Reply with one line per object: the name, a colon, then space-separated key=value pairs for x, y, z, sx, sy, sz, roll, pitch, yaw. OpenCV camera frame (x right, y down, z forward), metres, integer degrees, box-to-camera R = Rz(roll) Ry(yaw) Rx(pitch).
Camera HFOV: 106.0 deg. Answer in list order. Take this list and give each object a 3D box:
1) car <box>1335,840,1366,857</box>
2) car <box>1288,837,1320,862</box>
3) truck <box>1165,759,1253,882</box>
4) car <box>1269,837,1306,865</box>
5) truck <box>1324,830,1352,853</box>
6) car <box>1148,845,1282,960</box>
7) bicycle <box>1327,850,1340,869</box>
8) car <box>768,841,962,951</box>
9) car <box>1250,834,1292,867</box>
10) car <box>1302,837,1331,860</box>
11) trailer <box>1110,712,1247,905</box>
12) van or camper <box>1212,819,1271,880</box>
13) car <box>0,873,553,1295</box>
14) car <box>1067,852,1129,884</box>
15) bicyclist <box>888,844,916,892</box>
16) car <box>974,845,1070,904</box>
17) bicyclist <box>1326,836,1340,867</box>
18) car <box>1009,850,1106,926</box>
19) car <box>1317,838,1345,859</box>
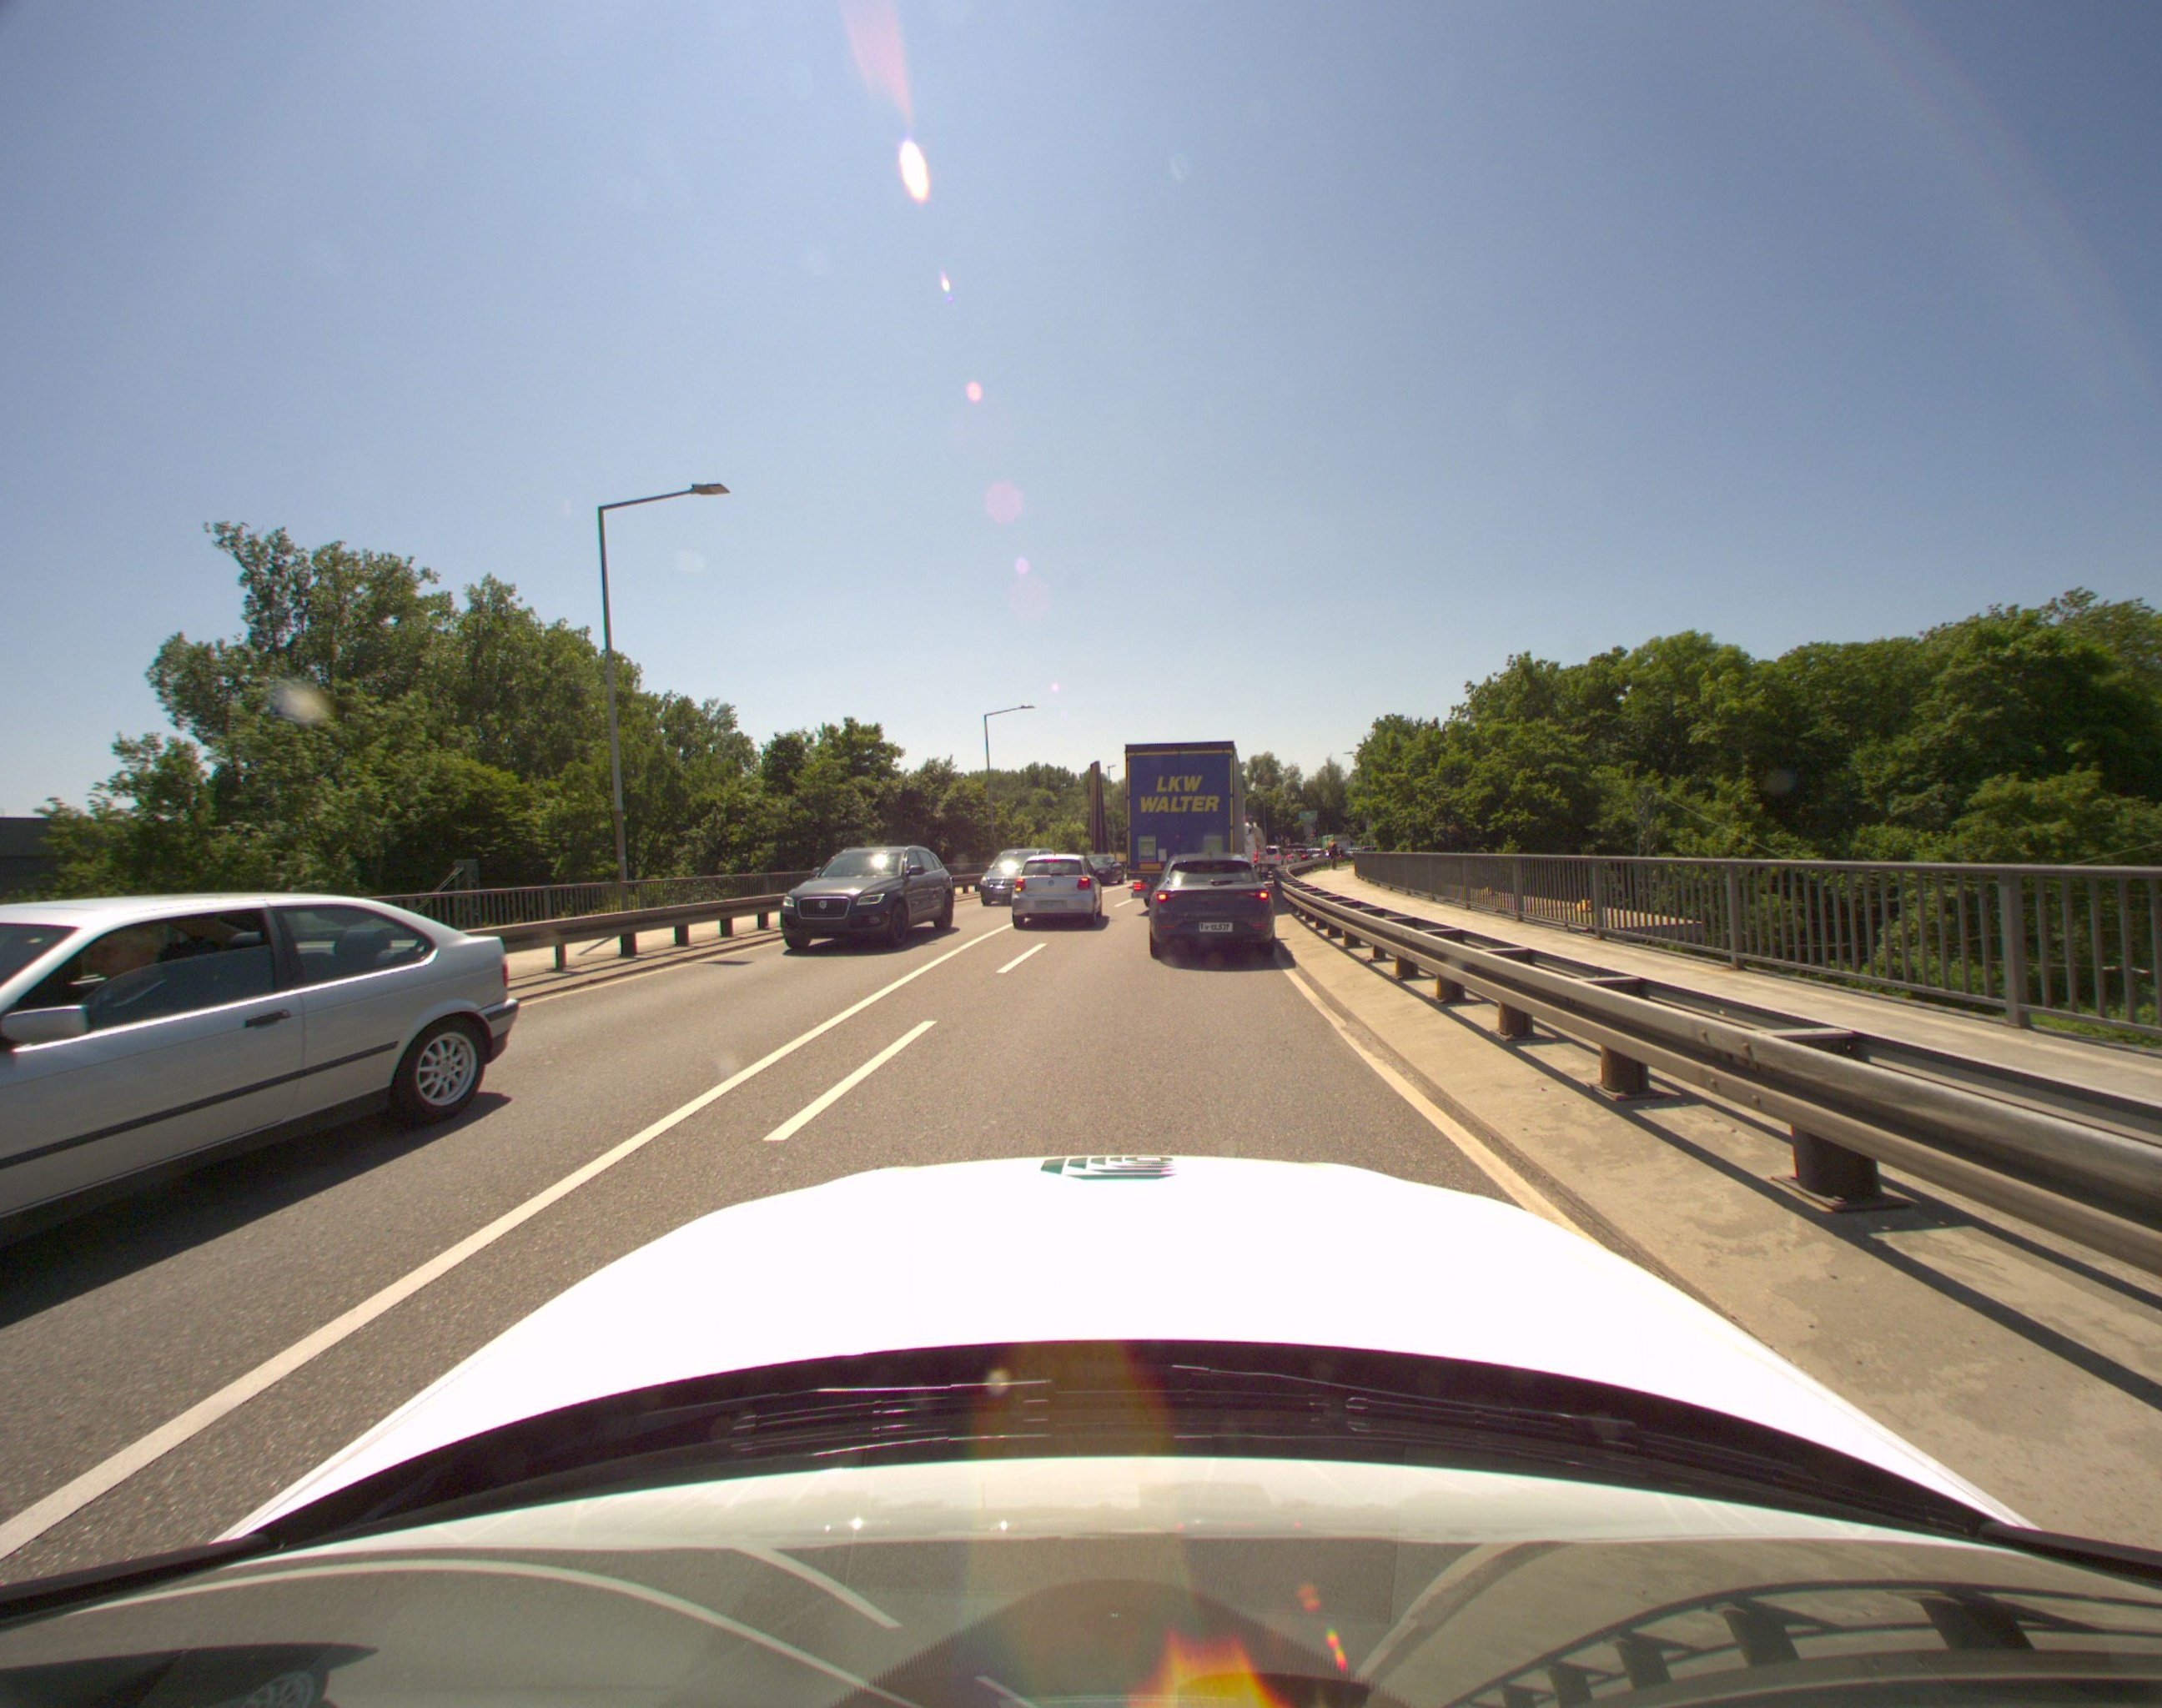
car: x=26.648 y=-0.566 z=80.385 sx=1.974 sy=1.575 sz=4.025 roll=1 pitch=-1 yaw=32
car: x=17.058 y=-0.347 z=62.125 sx=1.705 sy=1.844 sz=4.023 roll=-1 pitch=1 yaw=24
truck: x=5.302 y=-1.230 z=32.853 sx=2.884 sy=4.418 sz=6.580 roll=-1 pitch=0 yaw=14
car: x=13.801 y=-0.216 z=54.270 sx=1.705 sy=1.802 sz=4.023 roll=-1 pitch=1 yaw=23
truck: x=32.615 y=-1.579 z=103.502 sx=2.321 sy=2.873 sz=5.955 roll=-1 pitch=0 yaw=8
car: x=1.918 y=0.613 z=12.441 sx=1.669 sy=1.456 sz=3.965 roll=-1 pitch=0 yaw=6
bicycle: x=14.236 y=0.287 z=45.933 sx=0.577 sy=1.035 sz=1.491 roll=-4 pitch=-1 yaw=15
car: x=-3.612 y=0.625 z=14.531 sx=1.791 sy=1.641 sz=4.310 roll=-1 pitch=0 yaw=7
car: x=11.258 y=-0.243 z=48.036 sx=1.705 sy=1.843 sz=4.022 roll=-1 pitch=1 yaw=23
car: x=19.675 y=-0.469 z=68.037 sx=1.705 sy=1.844 sz=4.023 roll=-1 pitch=1 yaw=24
trailer: x=3.492 y=-1.094 z=25.019 sx=2.885 sy=4.418 sz=12.476 roll=-1 pitch=0 yaw=12
van or camper: x=8.139 y=-0.233 z=40.842 sx=2.137 sy=2.815 sz=6.417 roll=-1 pitch=0 yaw=18
car: x=-4.513 y=0.845 z=3.475 sx=1.689 sy=1.376 sz=4.004 roll=-2 pitch=0 yaw=4
car: x=0.827 y=0.595 z=36.448 sx=1.665 sy=1.308 sz=3.992 roll=-1 pitch=0 yaw=18
bicyclist: x=-5.739 y=0.441 z=26.130 sx=0.580 sy=1.521 sz=0.898 roll=-1 pitch=0 yaw=7
car: x=-1.688 y=0.554 z=24.838 sx=1.695 sy=1.626 sz=4.268 roll=-1 pitch=0 yaw=13
bicyclist: x=14.189 y=-0.163 z=45.872 sx=0.573 sy=1.682 sz=0.732 roll=-4 pitch=-1 yaw=15
car: x=-0.392 y=0.650 z=17.642 sx=1.669 sy=1.411 sz=3.980 roll=-1 pitch=1 yaw=4
car: x=22.851 y=-0.492 z=74.333 sx=1.669 sy=1.760 sz=4.024 roll=-1 pitch=0 yaw=29
